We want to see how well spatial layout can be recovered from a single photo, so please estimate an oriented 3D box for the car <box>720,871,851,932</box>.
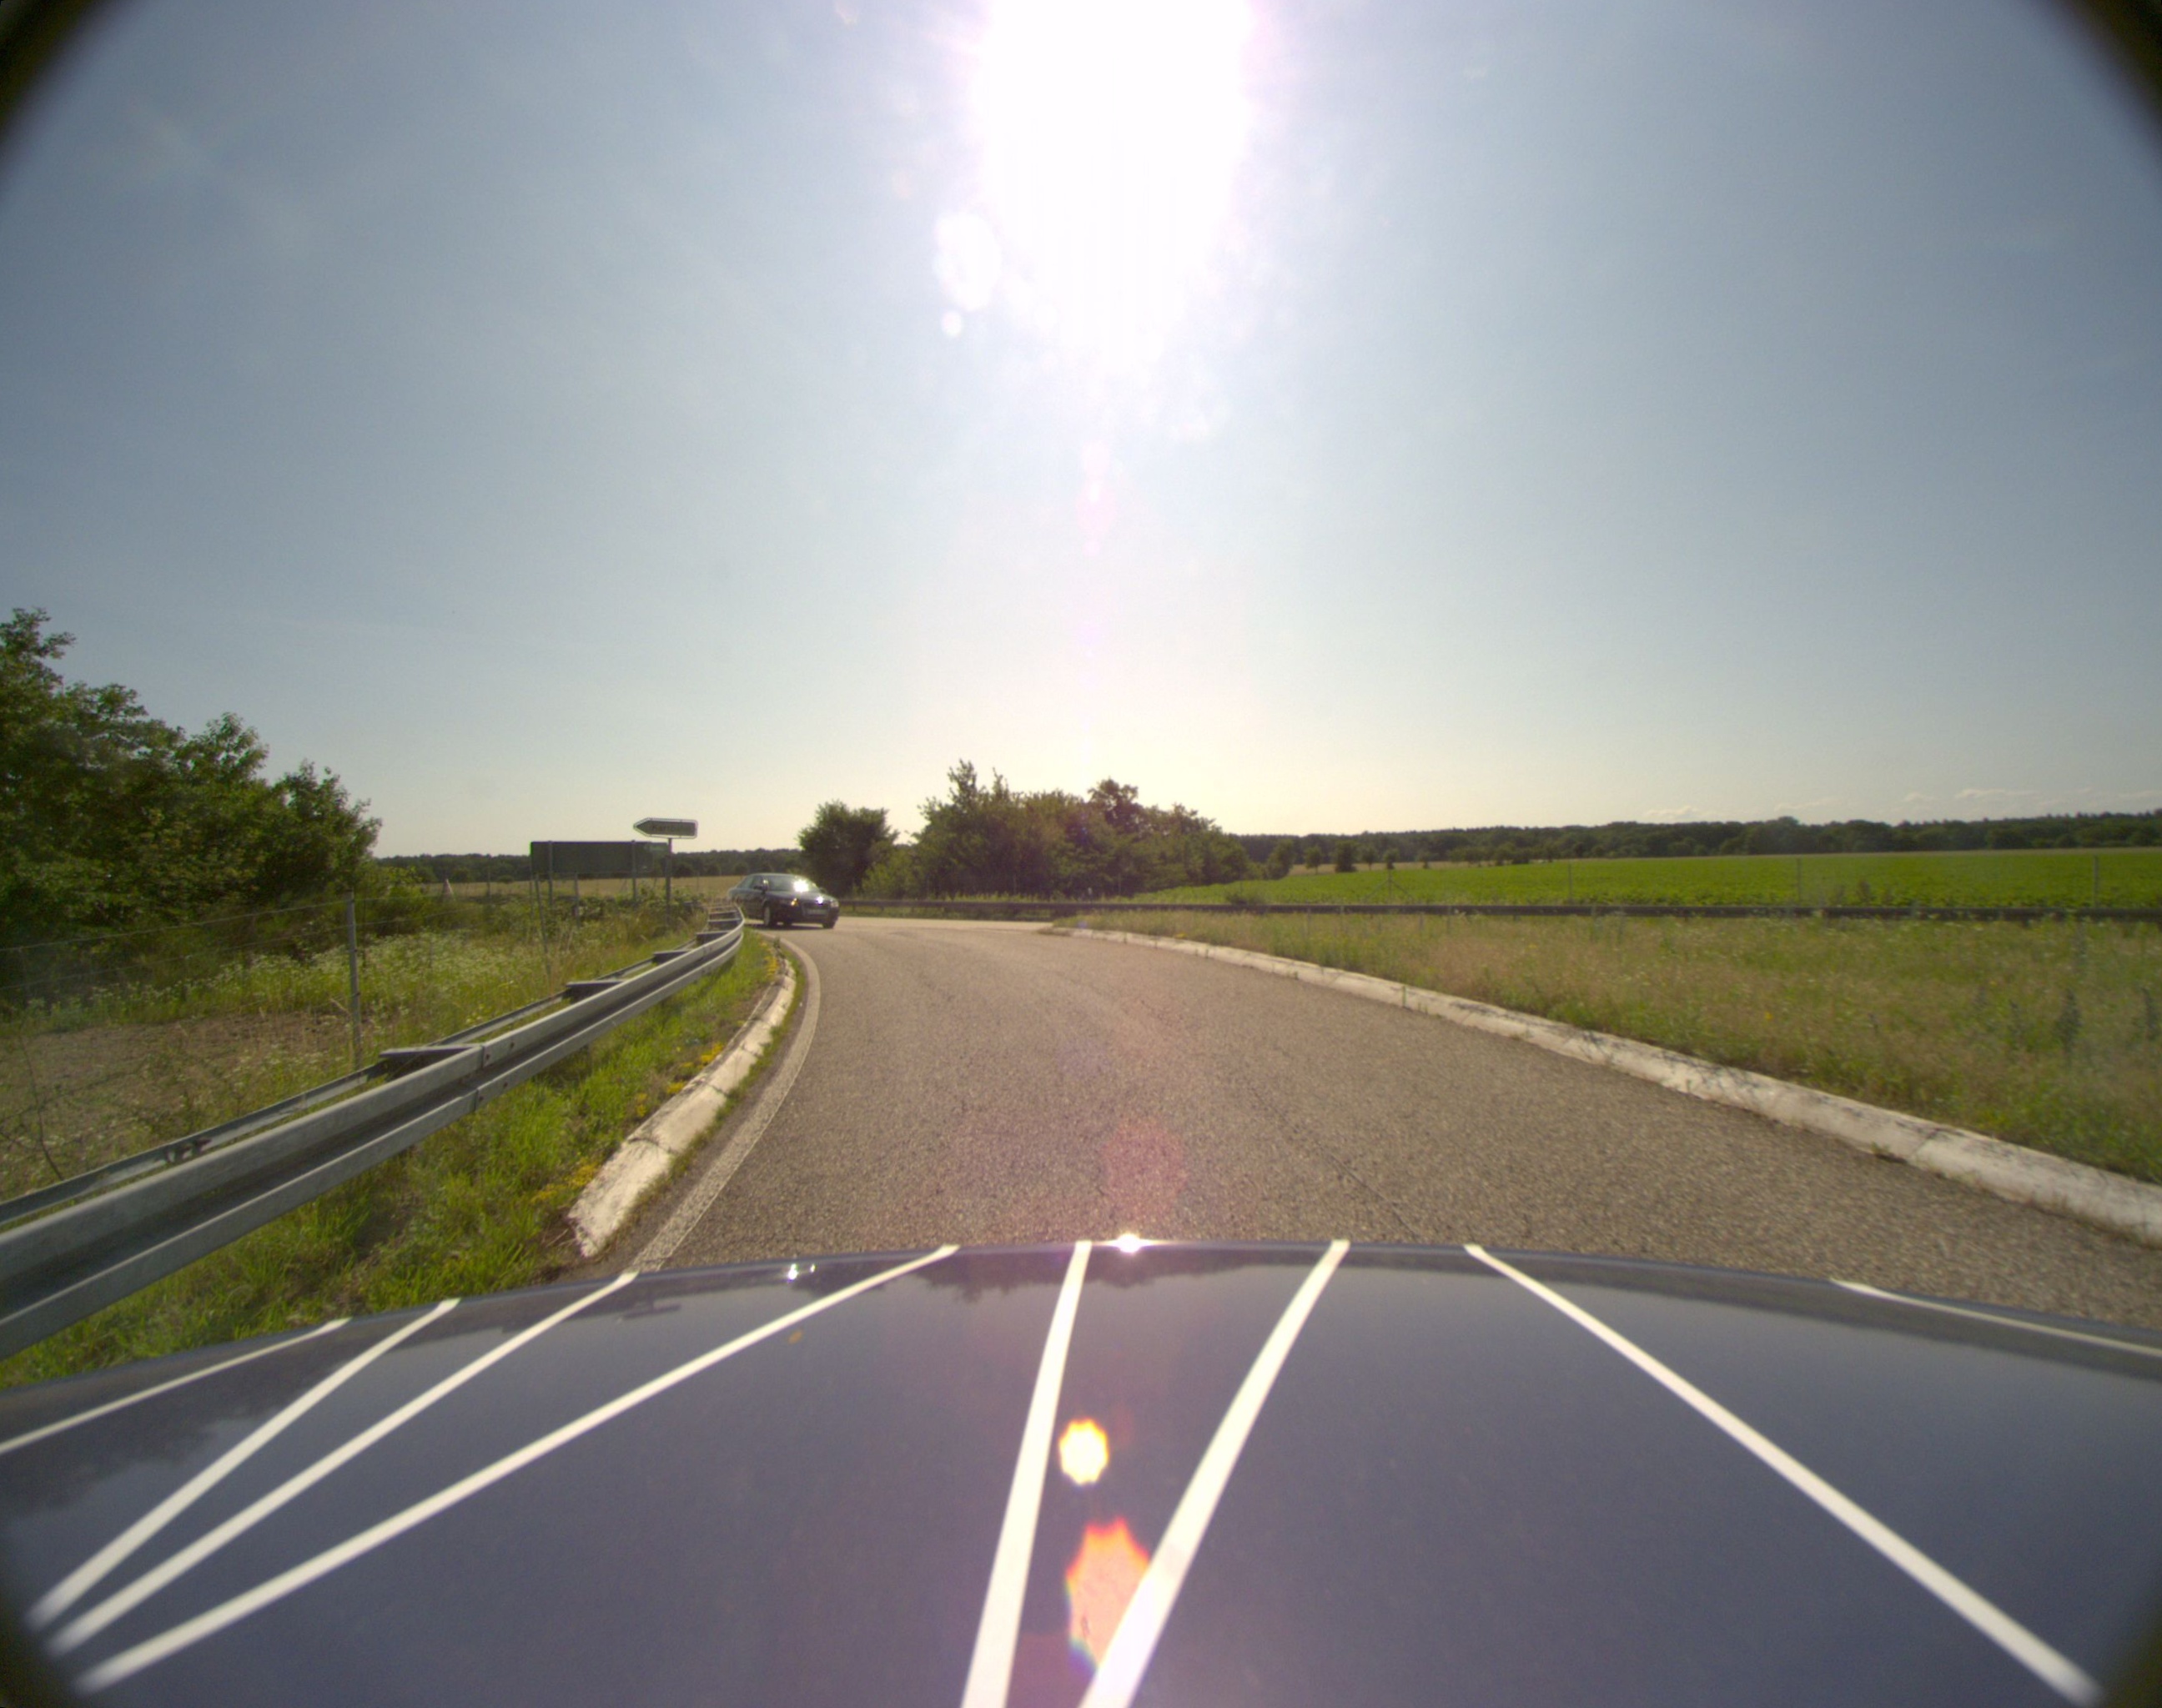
[{"bbox_3d":[-7.893,1.235,20.127,1.892,1.447,4.065,3,-4,-42],"label":"car"}]
